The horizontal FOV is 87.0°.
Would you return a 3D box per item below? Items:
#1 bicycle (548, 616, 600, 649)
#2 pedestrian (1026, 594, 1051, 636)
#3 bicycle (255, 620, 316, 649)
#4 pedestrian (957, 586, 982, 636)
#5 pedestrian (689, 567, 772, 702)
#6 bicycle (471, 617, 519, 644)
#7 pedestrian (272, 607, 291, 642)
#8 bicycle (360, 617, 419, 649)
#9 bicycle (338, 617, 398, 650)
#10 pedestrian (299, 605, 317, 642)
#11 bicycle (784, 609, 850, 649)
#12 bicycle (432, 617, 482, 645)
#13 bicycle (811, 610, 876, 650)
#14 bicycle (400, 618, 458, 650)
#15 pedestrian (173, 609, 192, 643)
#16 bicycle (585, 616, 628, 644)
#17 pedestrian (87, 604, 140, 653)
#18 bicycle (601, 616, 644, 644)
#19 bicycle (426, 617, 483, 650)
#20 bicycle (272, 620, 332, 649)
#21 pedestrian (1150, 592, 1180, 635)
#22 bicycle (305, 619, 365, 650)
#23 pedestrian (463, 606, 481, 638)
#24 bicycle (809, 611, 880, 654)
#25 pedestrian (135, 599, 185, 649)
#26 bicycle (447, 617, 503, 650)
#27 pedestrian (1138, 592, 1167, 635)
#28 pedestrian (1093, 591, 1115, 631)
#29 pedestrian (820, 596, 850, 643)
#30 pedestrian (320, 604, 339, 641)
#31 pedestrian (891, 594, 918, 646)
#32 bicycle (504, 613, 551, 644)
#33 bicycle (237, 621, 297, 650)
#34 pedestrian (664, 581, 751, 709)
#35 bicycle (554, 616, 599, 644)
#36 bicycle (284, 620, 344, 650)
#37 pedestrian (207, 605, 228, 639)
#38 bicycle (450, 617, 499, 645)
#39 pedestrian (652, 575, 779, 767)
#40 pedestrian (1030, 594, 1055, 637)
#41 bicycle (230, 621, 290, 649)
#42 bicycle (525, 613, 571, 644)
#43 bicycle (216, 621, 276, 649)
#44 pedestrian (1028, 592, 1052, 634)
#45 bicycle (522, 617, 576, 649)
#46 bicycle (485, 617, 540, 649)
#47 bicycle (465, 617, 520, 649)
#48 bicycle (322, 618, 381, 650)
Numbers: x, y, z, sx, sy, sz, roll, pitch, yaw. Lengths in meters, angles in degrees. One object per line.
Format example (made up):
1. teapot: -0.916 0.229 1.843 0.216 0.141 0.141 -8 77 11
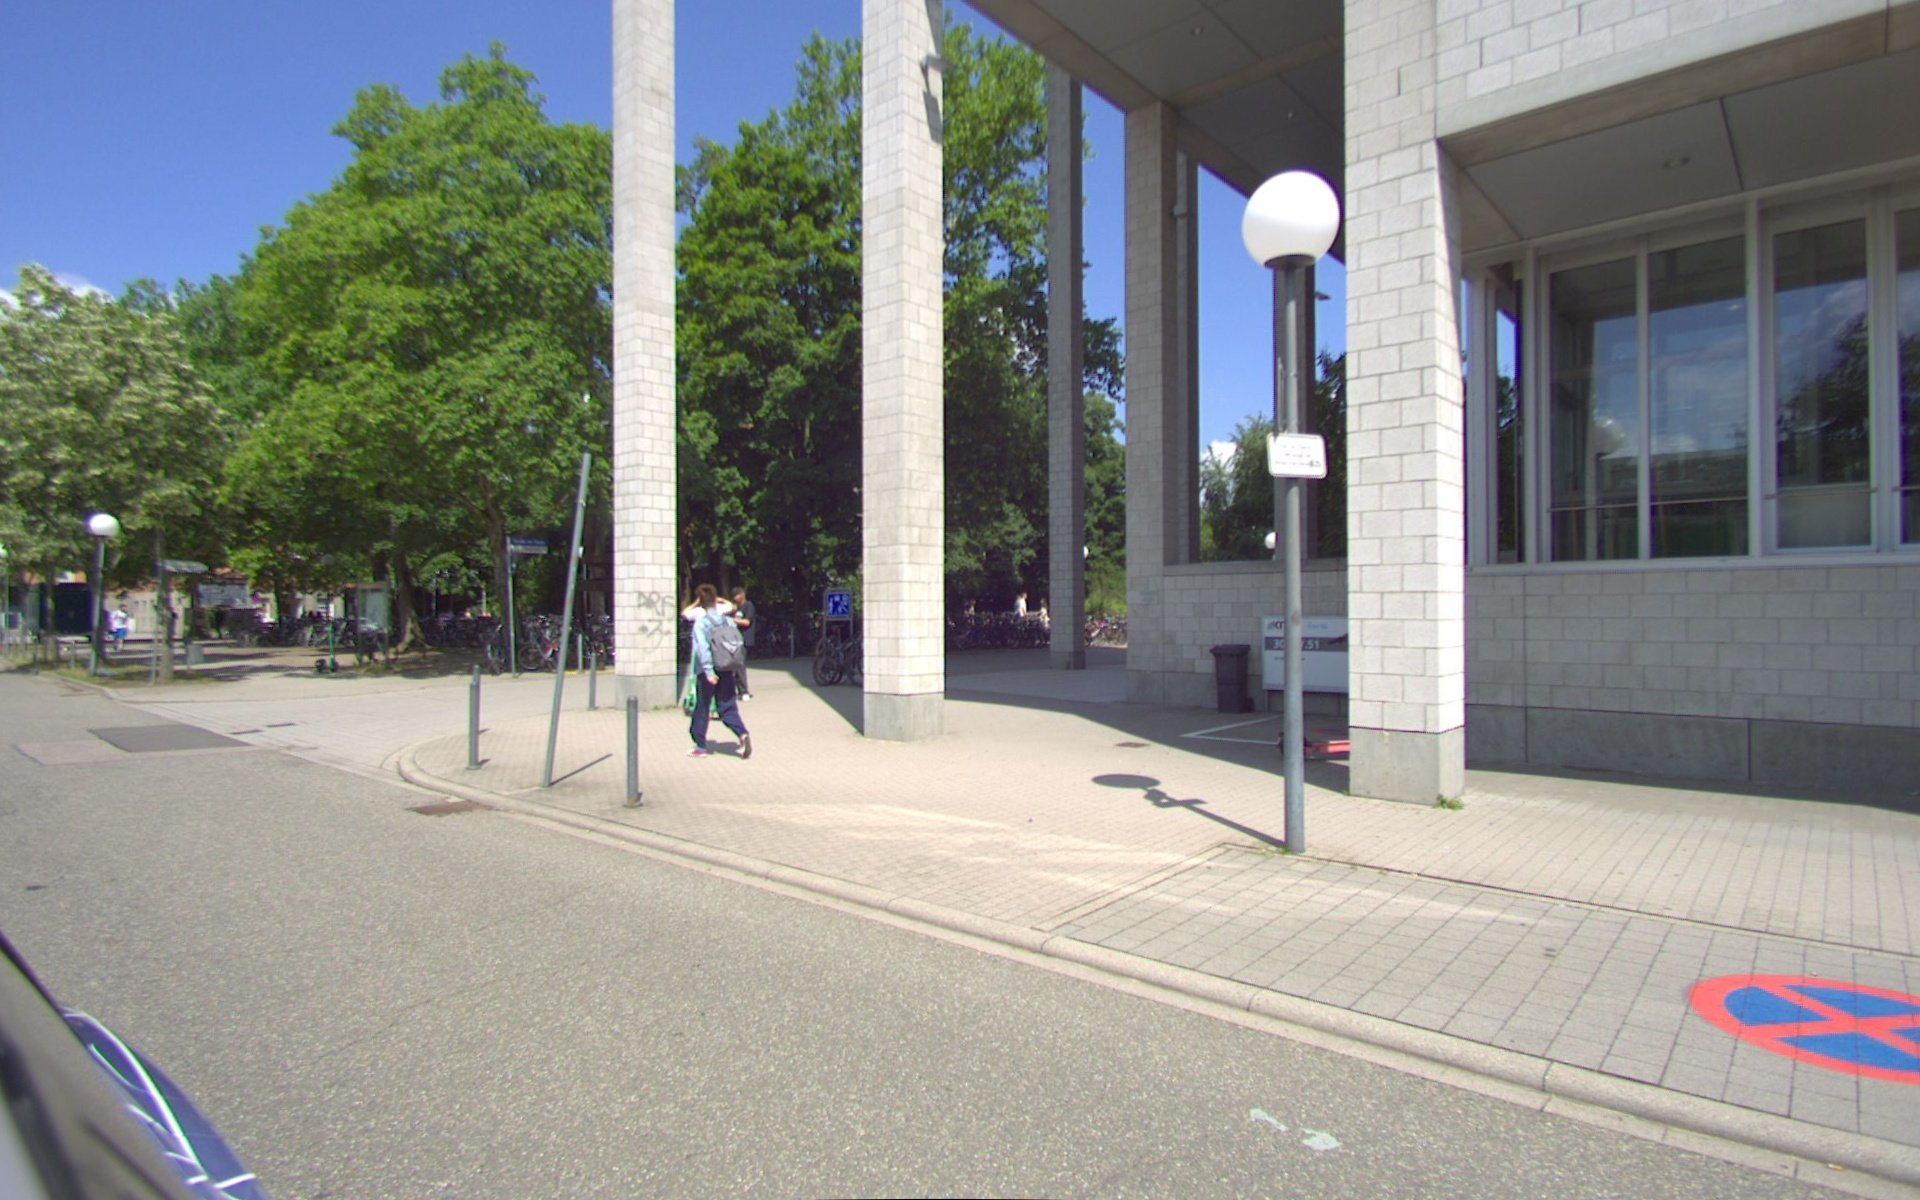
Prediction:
1. bicycle: -13.882 1.152 36.449 0.745 1.115 2.116 -1 0 12
2. pedestrian: 3.817 0.721 49.277 0.996 2.029 0.998 -1 0 16
3. bicycle: -26.481 1.358 39.787 0.676 1.066 2.116 -1 0 12
4. pedestrian: 0.471 0.561 49.969 0.996 2.438 0.998 -1 0 16
5. pedestrian: -3.592 0.517 15.806 1.080 2.029 0.745 -1 0 41
6. bicycle: -19.180 1.245 41.800 0.676 1.066 2.116 -1 0 12
7. pedestrian: -33.157 1.175 49.439 0.669 1.683 0.816 -1 0 -43
8. bicycle: -21.665 1.243 38.457 0.745 1.115 2.116 -1 0 12
9. bicycle: -22.592 1.269 38.686 0.745 1.166 2.116 -1 0 12
10. pedestrian: -30.080 1.066 46.674 0.668 1.683 0.817 -1 0 -34
11. bicycle: -4.462 0.885 31.443 2.168 1.201 0.615 -1 0 33
12. bicycle: -20.855 1.267 41.995 0.676 1.066 2.116 -1 0 12
13. bicycle: -4.046 1.037 35.121 2.149 1.343 0.621 -1 0 7
14. bicycle: -19.871 1.247 37.948 0.745 1.115 2.116 -1 0 12
15. pedestrian: -39.308 1.302 51.166 0.669 1.683 0.816 -1 0 -43
16. bicycle: -14.332 1.198 41.066 0.676 1.066 2.116 -1 0 12
17. pedestrian: -32.727 1.091 39.140 1.369 1.838 1.382 -1 0 41
18. bicycle: -13.530 1.187 40.619 0.676 1.066 2.116 -1 0 12
19. bicycle: -18.771 1.232 37.654 0.745 1.115 2.116 -1 0 12
20. bicycle: -25.764 1.348 39.665 0.676 1.066 2.116 -1 0 12
21. pedestrian: 9.761 0.643 48.222 0.988 2.029 1.006 -1 0 -18
22. bicycle: -24.056 1.302 38.998 0.676 1.115 2.116 -1 0 12
23. pedestrian: -23.488 1.049 48.696 0.501 1.543 0.583 -1 0 21
24. bicycle: -3.679 1.032 32.341 2.149 1.343 0.621 -1 0 7
25. pedestrian: -33.024 0.976 41.770 1.369 2.029 1.382 -1 0 41
26. bicycle: -17.946 1.222 37.482 0.745 1.115 2.116 -1 0 12
27. pedestrian: 9.385 0.648 49.338 0.988 2.029 1.006 -1 0 -20
28. pedestrian: 7.958 0.599 55.936 0.997 2.162 0.998 -1 0 23
29. pedestrian: -5.494 0.845 44.422 0.996 2.029 0.998 -1 0 16
30. pedestrian: -29.454 1.058 47.276 0.745 1.683 0.825 -1 0 -34
31. pedestrian: -2.622 0.944 48.300 0.996 2.438 0.998 -1 0 16
32. bicycle: -17.919 1.177 41.990 0.676 1.201 2.116 -1 0 12
33. bicycle: -27.191 1.367 39.752 0.616 1.066 2.116 -1 0 12
34. pedestrian: -3.716 0.637 14.870 1.080 1.794 0.745 -1 0 41
35. bicycle: -15.731 1.216 41.586 0.676 1.066 2.116 -1 0 12
36. bicycle: -25.023 1.339 39.226 0.676 1.066 2.116 -1 0 12
37. pedestrian: -42.960 1.264 58.563 0.668 1.907 0.816 -1 0 -9
38. bicycle: -20.018 1.256 41.761 0.676 1.066 2.116 -1 0 12
39. pedestrian: -2.438 0.650 10.015 0.749 1.738 1.238 -3 2 -36
40. pedestrian: 3.933 0.720 48.018 0.996 2.029 0.998 -1 0 16
41. bicycle: -27.788 1.375 40.214 0.616 1.066 2.116 -1 0 12
42. bicycle: -16.885 1.163 41.548 0.676 1.201 2.116 -1 0 12
43. bicycle: -28.458 1.384 40.367 0.616 1.066 2.116 -1 0 12
44. pedestrian: 4.067 0.669 51.774 0.989 2.126 1.005 -1 0 -9
45. bicycle: -14.896 1.182 36.748 0.745 1.115 2.116 -1 0 12
46. bicycle: -16.399 1.201 37.133 0.745 1.115 2.116 -1 0 12
47. bicycle: -17.192 1.212 37.291 0.745 1.115 2.116 -1 0 12
48. bicycle: -23.326 1.292 38.852 0.676 1.115 2.116 -1 0 12
